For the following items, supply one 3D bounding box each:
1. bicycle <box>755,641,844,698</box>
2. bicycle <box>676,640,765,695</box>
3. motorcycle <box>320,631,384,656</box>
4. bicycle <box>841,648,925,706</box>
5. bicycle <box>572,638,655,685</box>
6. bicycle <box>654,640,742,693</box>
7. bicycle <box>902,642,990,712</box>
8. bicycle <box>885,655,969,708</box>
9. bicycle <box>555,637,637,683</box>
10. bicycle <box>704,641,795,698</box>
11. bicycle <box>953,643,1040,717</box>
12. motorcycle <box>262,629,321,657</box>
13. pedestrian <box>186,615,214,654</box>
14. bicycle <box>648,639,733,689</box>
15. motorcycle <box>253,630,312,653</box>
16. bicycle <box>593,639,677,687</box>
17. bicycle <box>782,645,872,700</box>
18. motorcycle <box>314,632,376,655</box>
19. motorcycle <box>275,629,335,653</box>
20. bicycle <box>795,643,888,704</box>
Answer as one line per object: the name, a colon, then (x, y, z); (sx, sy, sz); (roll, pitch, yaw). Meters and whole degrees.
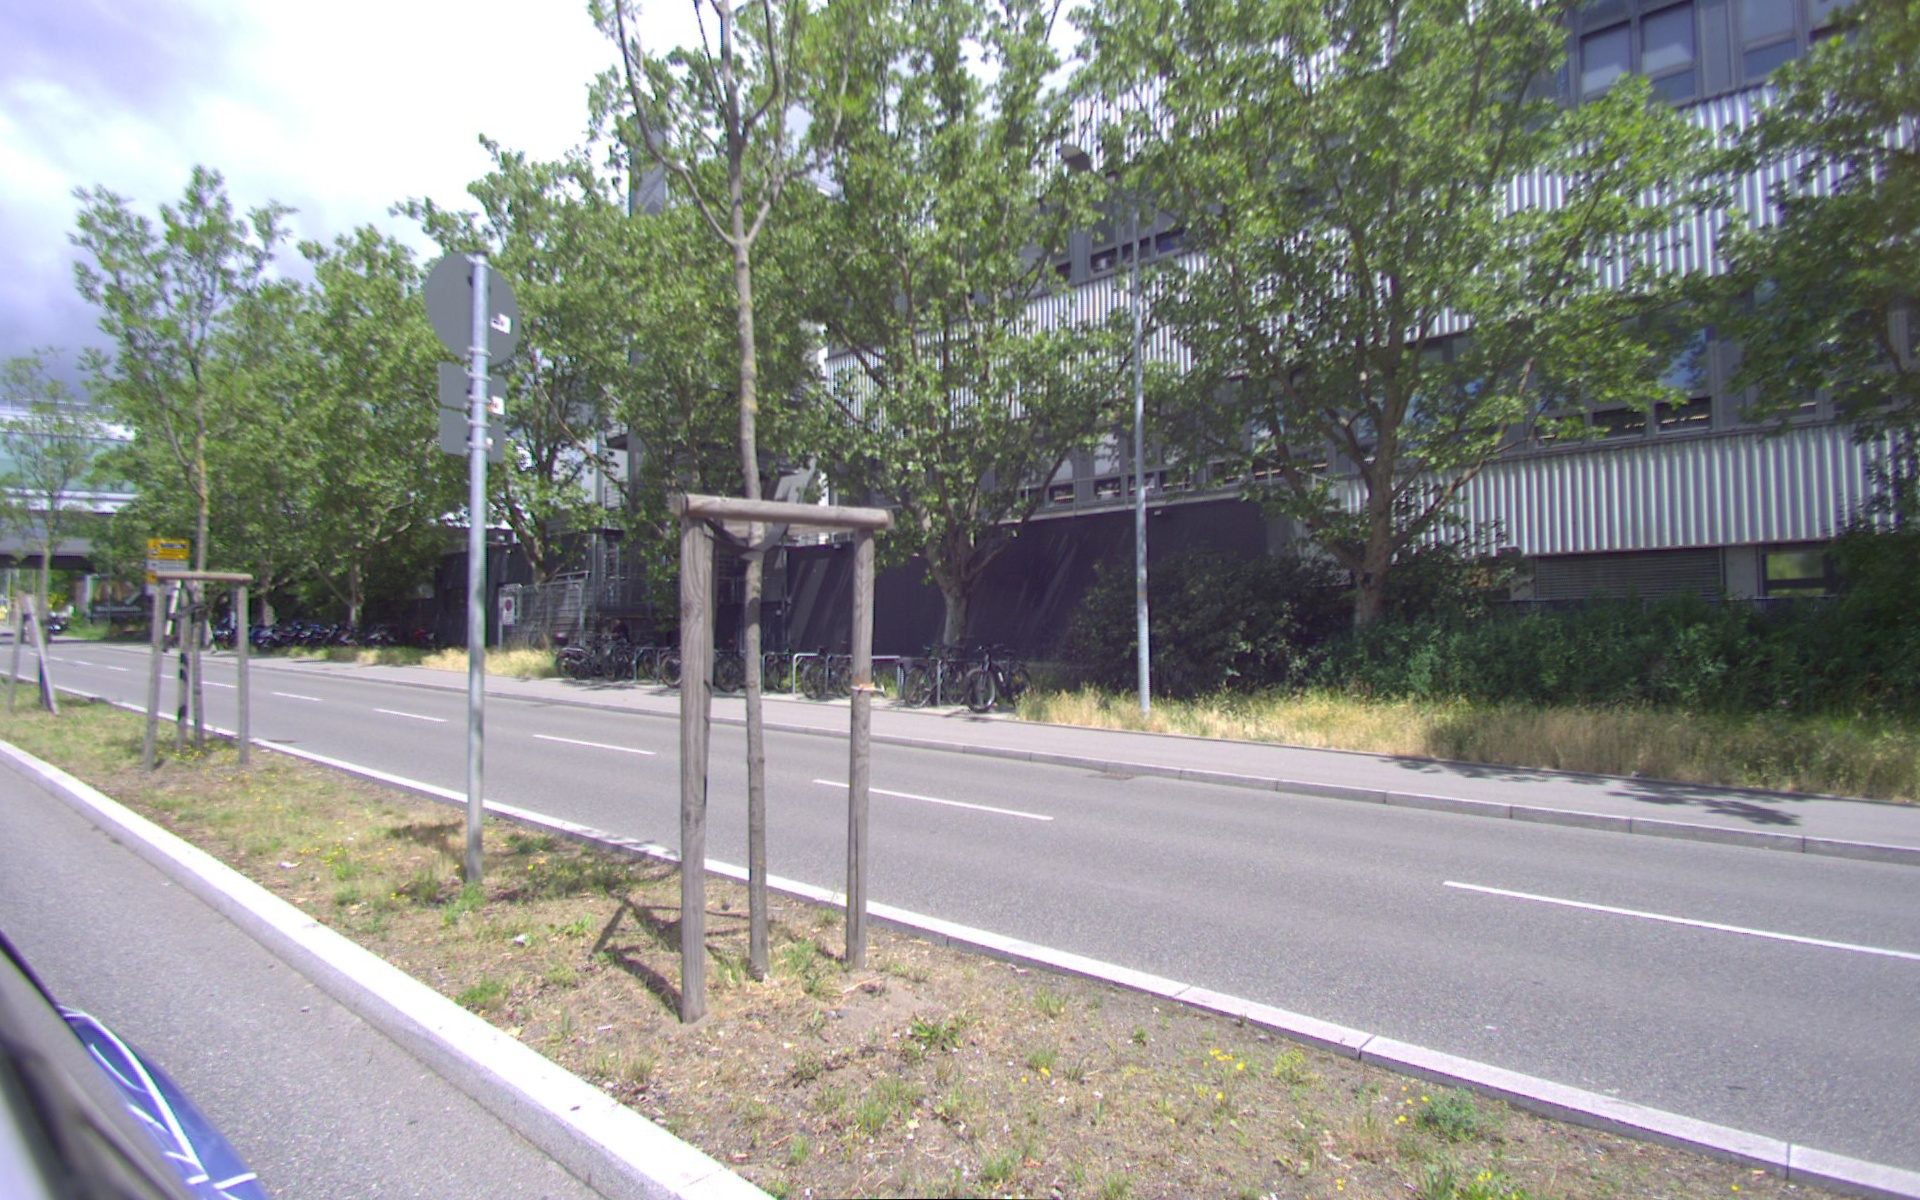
bicycle: (-3.415, 1.460, 21.744); (0.382, 1.119, 2.101); (-2, -1, 43)
bicycle: (-5.336, 1.492, 22.660); (0.382, 1.119, 2.101); (-2, -1, 43)
motorcycle: (-23.937, 1.697, 39.859); (0.534, 0.905, 2.105); (-2, -1, 41)
bicycle: (-1.472, 1.480, 19.700); (0.381, 1.005, 1.968); (-2, -1, 39)
bicycle: (-8.908, 1.575, 26.079); (0.382, 1.119, 2.101); (-2, -1, 43)
bicycle: (-5.993, 1.504, 23.256); (0.382, 1.119, 2.101); (-2, -1, 43)
bicycle: (-0.222, 1.339, 18.113); (0.381, 1.137, 1.968); (-2, -1, 39)
bicycle: (-0.600, 1.524, 19.214); (0.381, 0.897, 1.968); (-2, -1, 39)
bicycle: (-9.549, 1.556, 26.624); (0.382, 1.119, 2.101); (-2, -1, 43)
bicycle: (-4.546, 1.483, 22.010); (0.382, 1.119, 2.101); (-2, -1, 43)
bicycle: (0.657, 1.342, 17.391); (0.381, 1.137, 1.968); (-2, -1, 39)
motorcycle: (-29.125, 1.872, 44.130); (0.534, 1.146, 2.105); (-2, -1, 41)
pedestrian: (-34.597, 1.563, 46.087); (0.672, 1.734, 0.888); (-2, -2, 41)
bicycle: (-6.484, 1.515, 24.406); (0.382, 1.119, 2.101); (-2, -1, 43)
motorcycle: (-30.164, 1.838, 45.083); (0.534, 0.976, 2.105); (-2, -1, 41)
bicycle: (-8.163, 1.571, 25.530); (0.382, 1.119, 2.101); (-2, -1, 43)
bicycle: (-2.746, 1.483, 21.129); (0.382, 1.038, 2.101); (-2, -1, 43)
motorcycle: (-25.167, 1.769, 41.419); (0.534, 0.892, 2.105); (-2, -1, 41)
motorcycle: (-28.068, 1.753, 43.369); (0.534, 0.976, 2.105); (-2, -1, 41)
bicycle: (-2.343, 1.438, 20.221); (0.382, 1.104, 2.101); (-2, -1, 43)
